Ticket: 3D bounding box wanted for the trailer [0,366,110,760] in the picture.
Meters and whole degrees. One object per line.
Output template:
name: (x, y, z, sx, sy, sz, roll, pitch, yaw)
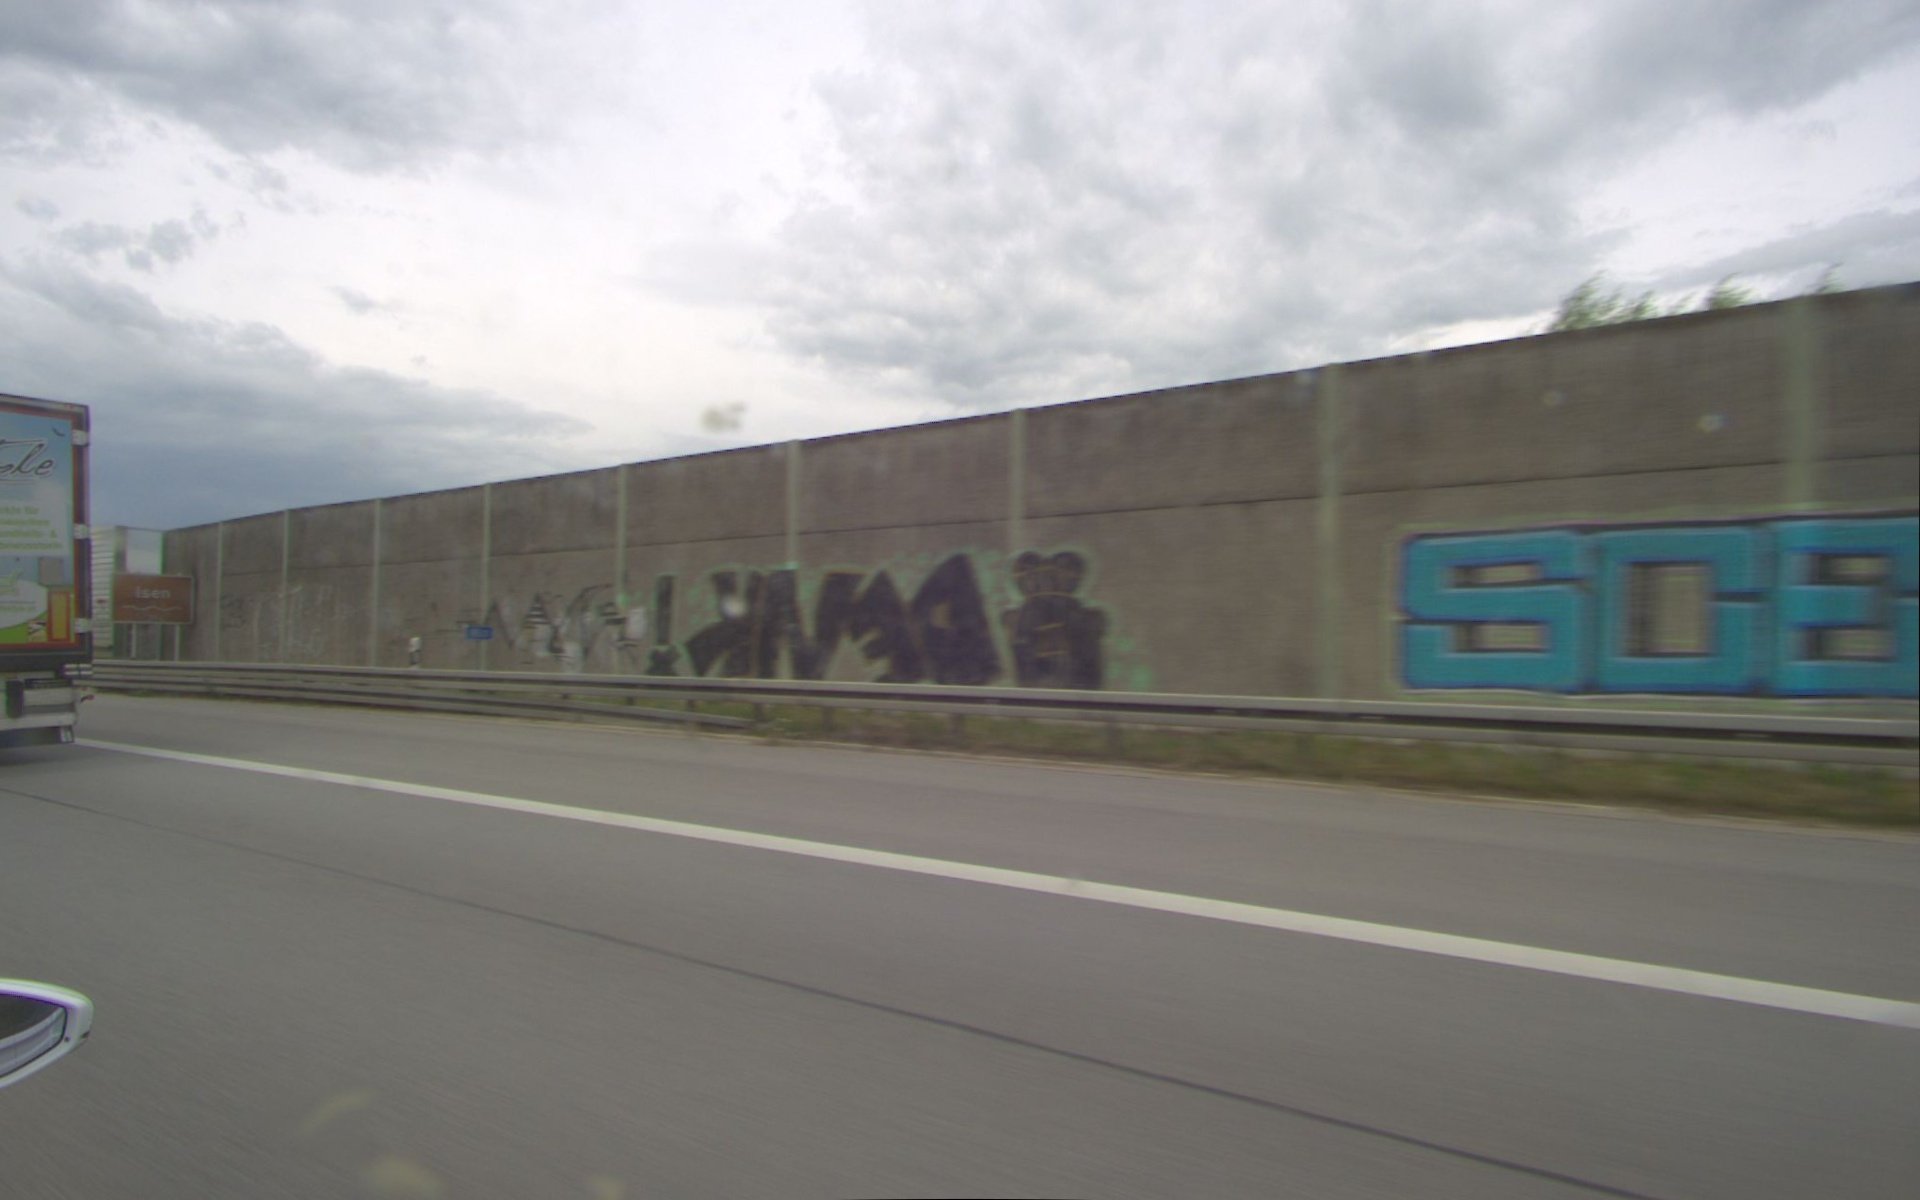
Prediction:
trailer: (-16.421, -0.285, 14.071, 13.901, 4.228, 2.788, -1, -1, 32)
